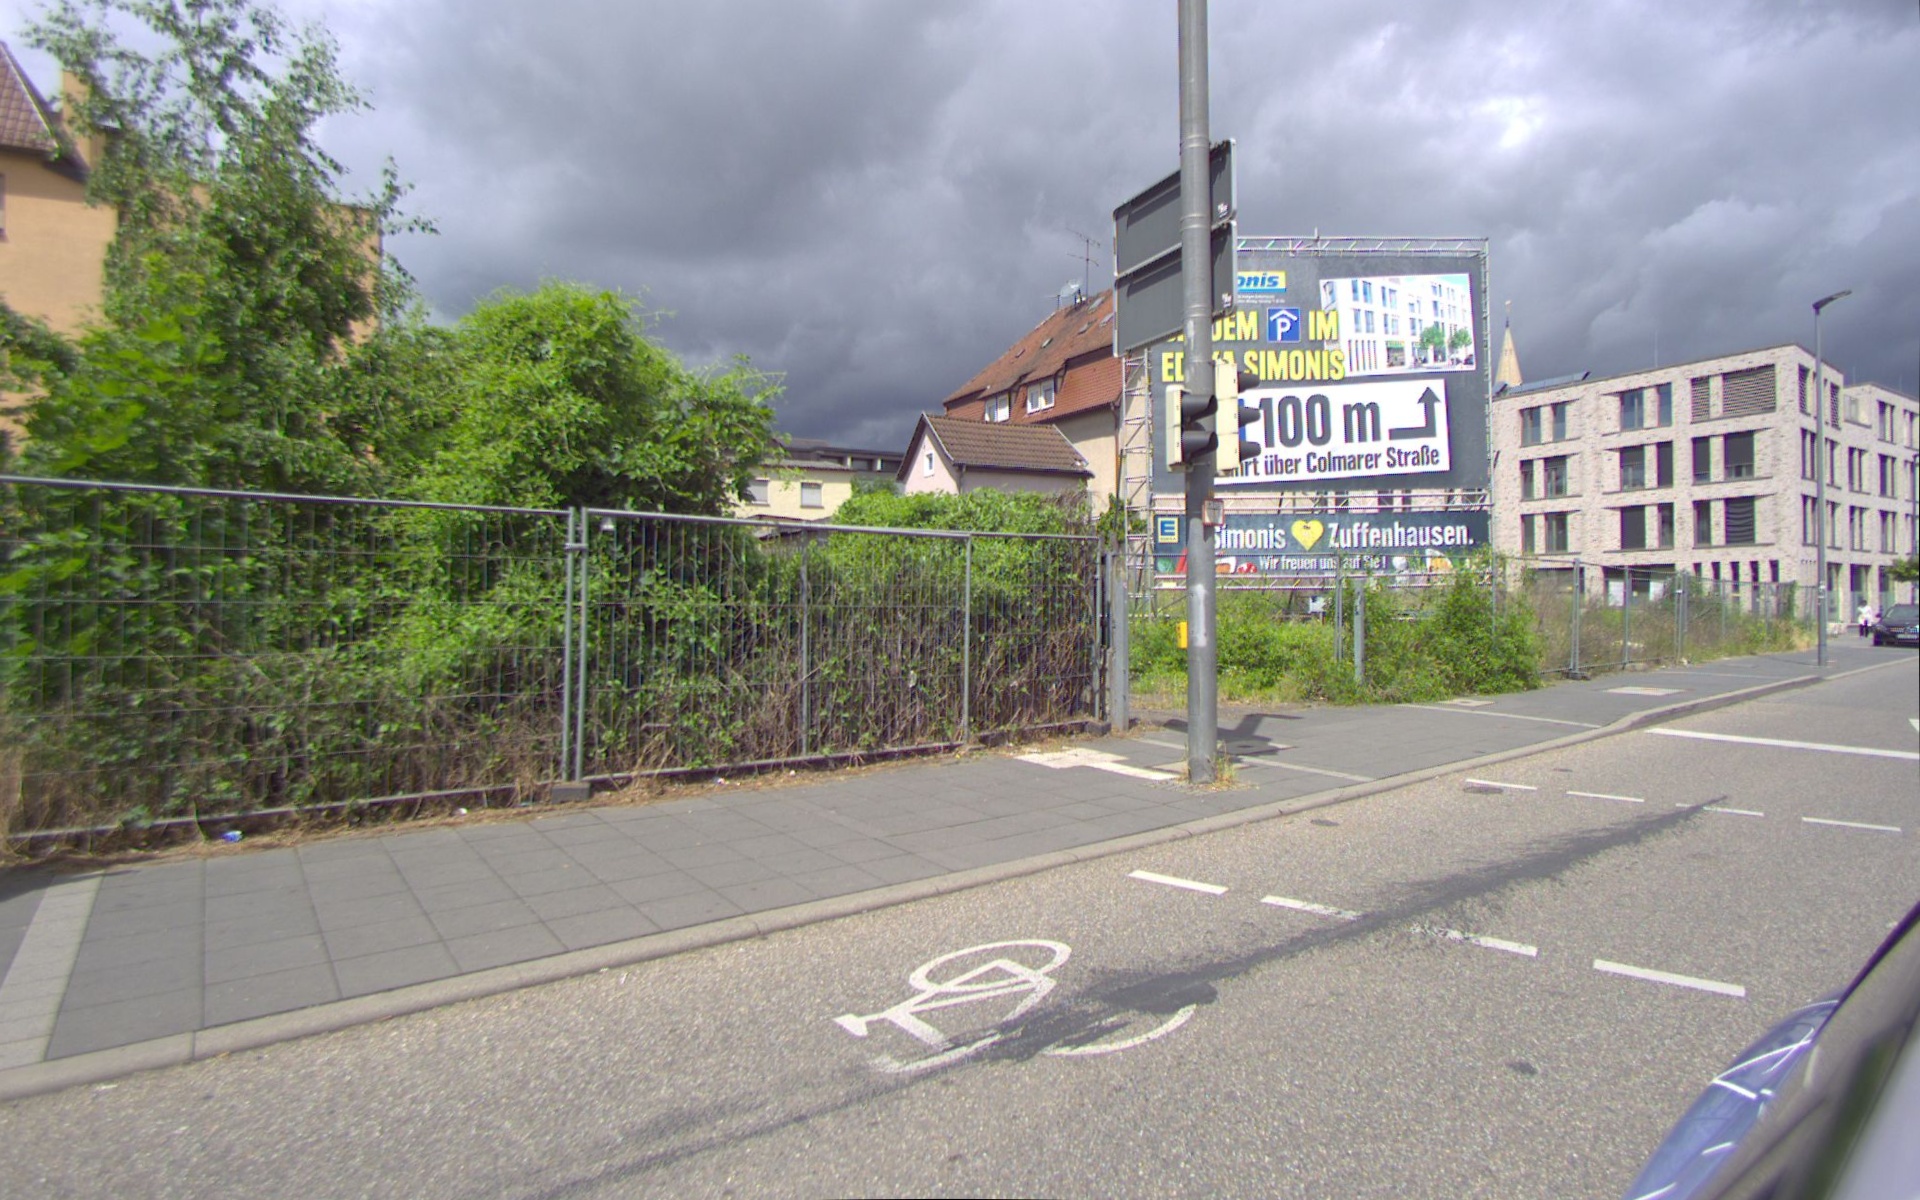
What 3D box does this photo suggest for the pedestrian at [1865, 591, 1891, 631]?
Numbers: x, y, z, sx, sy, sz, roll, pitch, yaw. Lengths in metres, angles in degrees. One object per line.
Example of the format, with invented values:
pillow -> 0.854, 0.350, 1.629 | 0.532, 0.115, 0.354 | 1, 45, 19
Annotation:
pedestrian -> 35.884, 0.415, 39.557 | 0.769, 1.531, 0.673 | 1, 0, -41

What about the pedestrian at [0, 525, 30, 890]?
pedestrian -> -4.632, 0.487, 4.326 | 0.762, 1.663, 0.768 | 2, 0, -29

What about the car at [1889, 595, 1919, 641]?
car -> 32.731, 0.595, 34.012 | 3.726, 1.441, 1.678 | -1, 2, -39
